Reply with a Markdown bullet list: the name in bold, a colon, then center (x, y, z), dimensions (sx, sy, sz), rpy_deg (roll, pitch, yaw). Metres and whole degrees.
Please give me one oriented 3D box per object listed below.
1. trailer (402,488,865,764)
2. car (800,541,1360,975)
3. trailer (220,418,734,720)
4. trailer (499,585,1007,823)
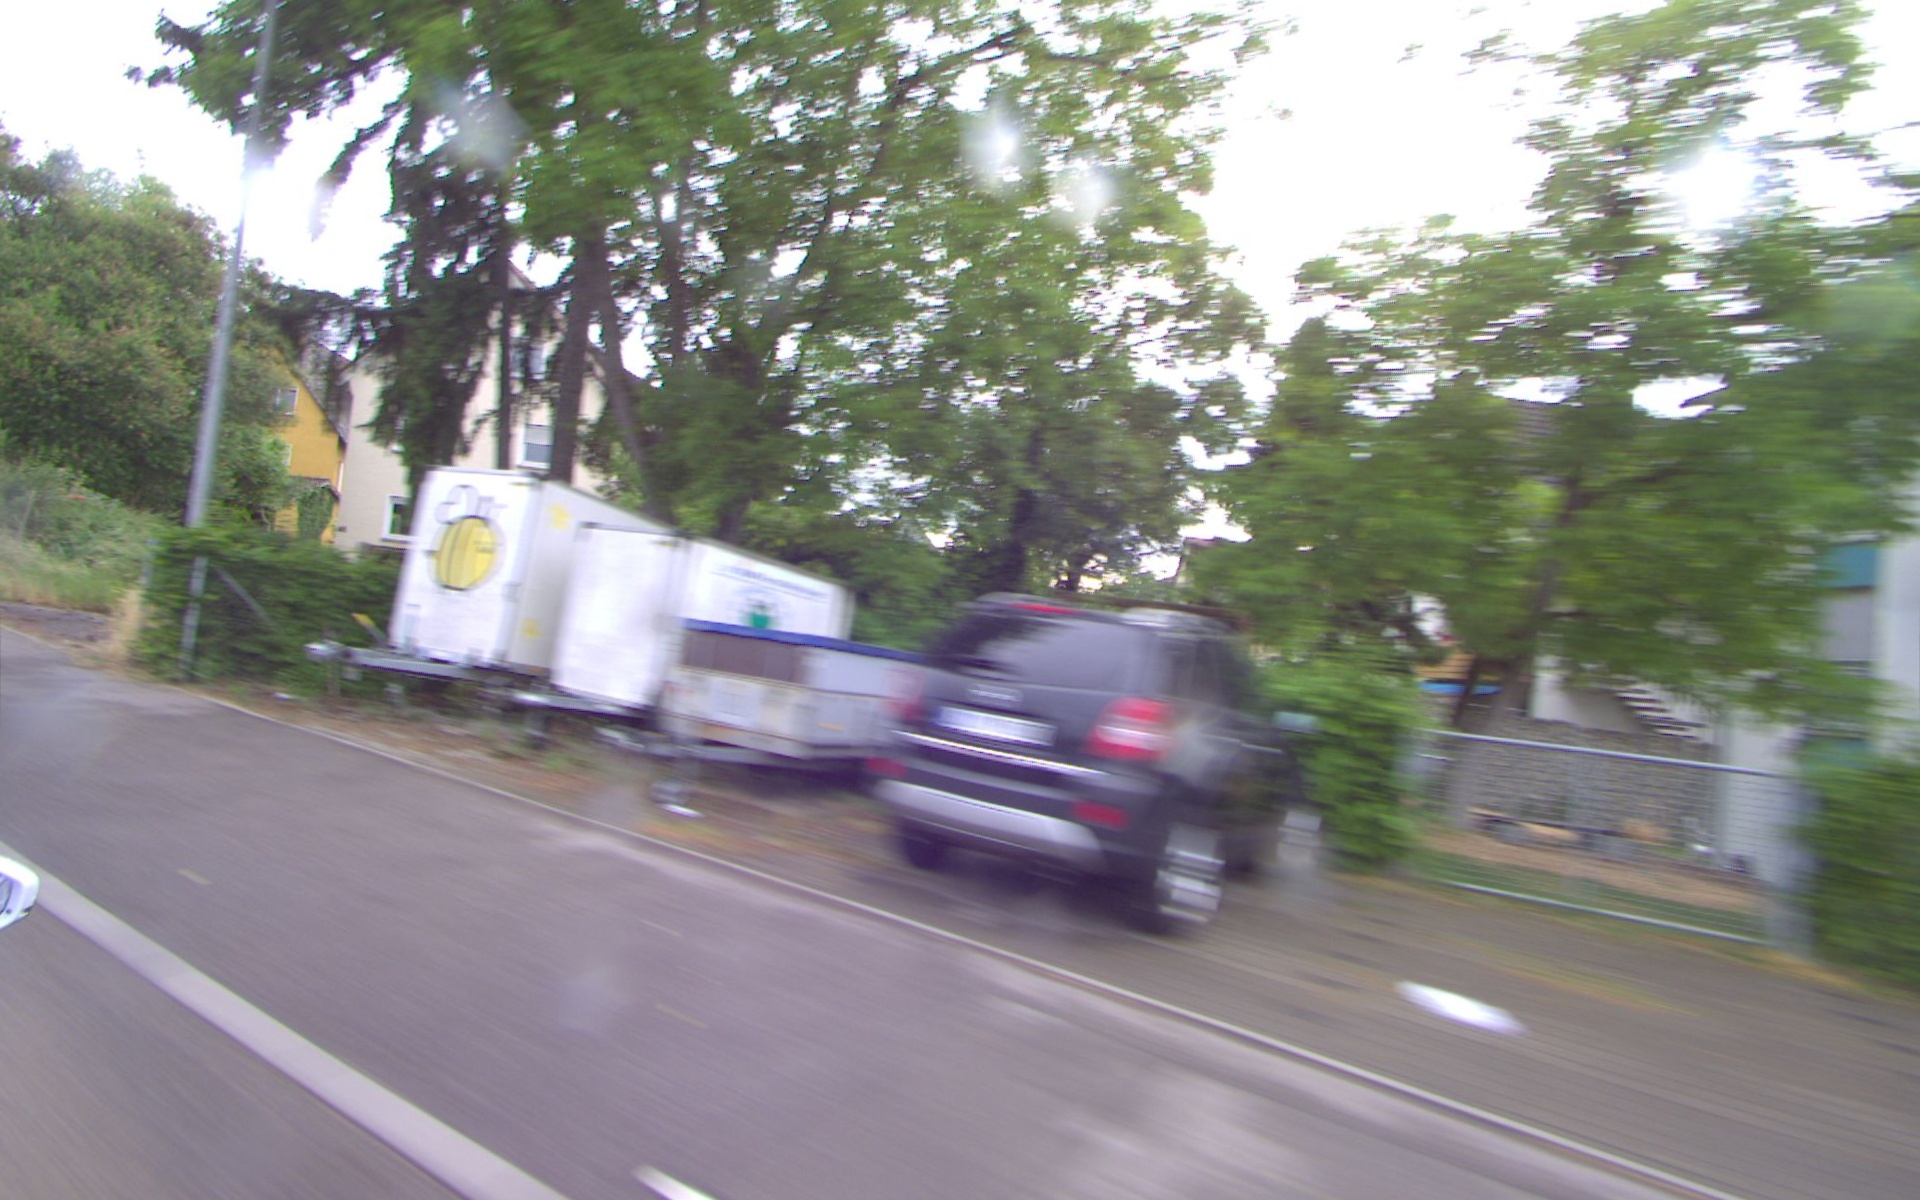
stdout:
- **trailer**: center (-2.867, 0.404, 9.777), dimensions (1.658, 2.043, 3.965), rpy_deg (7, -4, 30)
- **car**: center (1.159, 0.905, 6.762), dimensions (1.951, 1.769, 4.222), rpy_deg (8, -2, 32)
- **trailer**: center (-4.715, -0.078, 10.753), dimensions (1.914, 2.426, 4.554), rpy_deg (7, -3, 23)
- **trailer**: center (-1.363, 0.876, 8.488), dimensions (1.545, 1.302, 4.409), rpy_deg (8, -2, 30)
